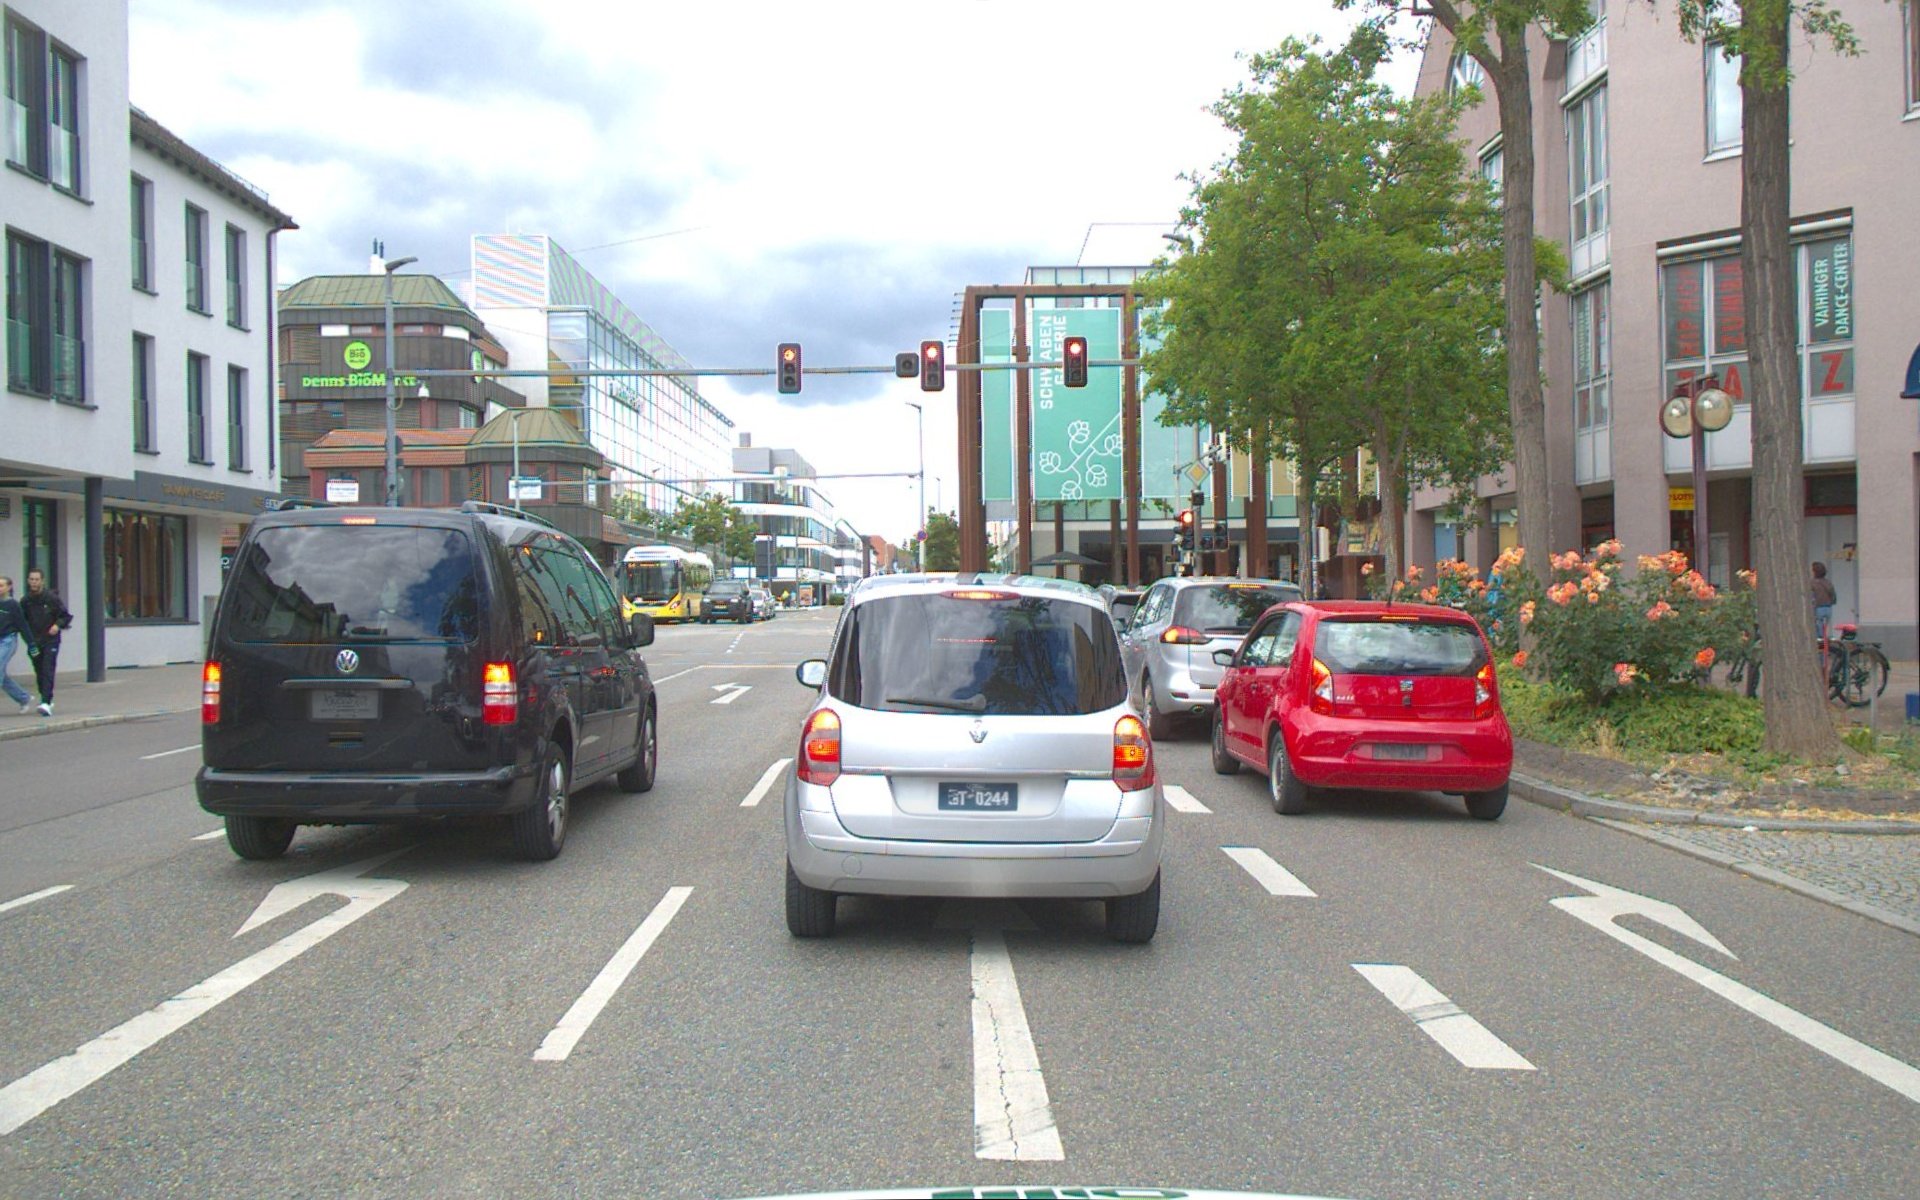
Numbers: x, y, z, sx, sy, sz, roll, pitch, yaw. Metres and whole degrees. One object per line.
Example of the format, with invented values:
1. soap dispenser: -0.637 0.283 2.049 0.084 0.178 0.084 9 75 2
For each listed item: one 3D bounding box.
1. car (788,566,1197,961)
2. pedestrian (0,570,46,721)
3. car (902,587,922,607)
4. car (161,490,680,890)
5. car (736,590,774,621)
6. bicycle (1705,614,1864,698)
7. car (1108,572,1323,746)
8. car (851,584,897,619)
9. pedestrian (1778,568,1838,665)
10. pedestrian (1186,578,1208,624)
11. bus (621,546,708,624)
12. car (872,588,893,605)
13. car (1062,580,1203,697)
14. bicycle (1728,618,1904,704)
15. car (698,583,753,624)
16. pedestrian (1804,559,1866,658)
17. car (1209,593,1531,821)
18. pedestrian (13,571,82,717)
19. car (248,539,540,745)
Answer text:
1. car: 0.099 0.637 8.241 1.606 1.554 3.393 1 0 -1
2. pedestrian: -11.703 0.549 20.256 0.668 1.821 0.648 -1 0 -5
3. car: -5.019 -0.347 172.532 1.953 1.983 4.949 0 0 -2
4. car: -2.964 0.414 10.216 1.709 1.887 4.633 1 0 -1
5. car: -9.870 0.254 79.770 1.524 1.417 3.286 0 0 -2
6. bicycle: 10.242 0.695 20.580 1.731 1.014 0.447 -1 0 3
7. car: 2.659 0.560 18.011 1.555 1.662 3.914 1 0 -3
8. car: -4.339 0.052 84.157 1.877 1.706 4.244 0 0 4
9. pedestrian: 13.666 0.253 26.665 0.601 1.542 0.617 0 0 -23
10. pedestrian: 8.686 0.032 60.603 0.641 1.679 0.557 -1 0 -15
11. bus: -13.238 -0.660 74.796 2.633 3.318 8.650 0 0 -2
12. car: -7.371 -0.325 157.177 1.764 1.567 4.065 0 0 0
13. car: 2.555 0.534 25.263 1.555 1.623 3.866 1 0 -3
14. bicycle: 10.348 0.734 20.027 1.861 1.014 0.468 -1 0 3
15. car: -10.189 0.119 72.186 1.953 1.735 4.063 0 0 -2
16. pedestrian: 14.250 0.137 26.948 0.653 1.591 0.617 0 0 -23
17. car: 2.968 0.701 12.615 1.554 1.468 3.348 1 0 -1
18. pedestrian: -11.540 0.546 20.931 0.558 1.806 0.646 -1 0 -8
19. car: -6.109 0.381 18.543 1.955 1.921 5.151 -2 1 -6
